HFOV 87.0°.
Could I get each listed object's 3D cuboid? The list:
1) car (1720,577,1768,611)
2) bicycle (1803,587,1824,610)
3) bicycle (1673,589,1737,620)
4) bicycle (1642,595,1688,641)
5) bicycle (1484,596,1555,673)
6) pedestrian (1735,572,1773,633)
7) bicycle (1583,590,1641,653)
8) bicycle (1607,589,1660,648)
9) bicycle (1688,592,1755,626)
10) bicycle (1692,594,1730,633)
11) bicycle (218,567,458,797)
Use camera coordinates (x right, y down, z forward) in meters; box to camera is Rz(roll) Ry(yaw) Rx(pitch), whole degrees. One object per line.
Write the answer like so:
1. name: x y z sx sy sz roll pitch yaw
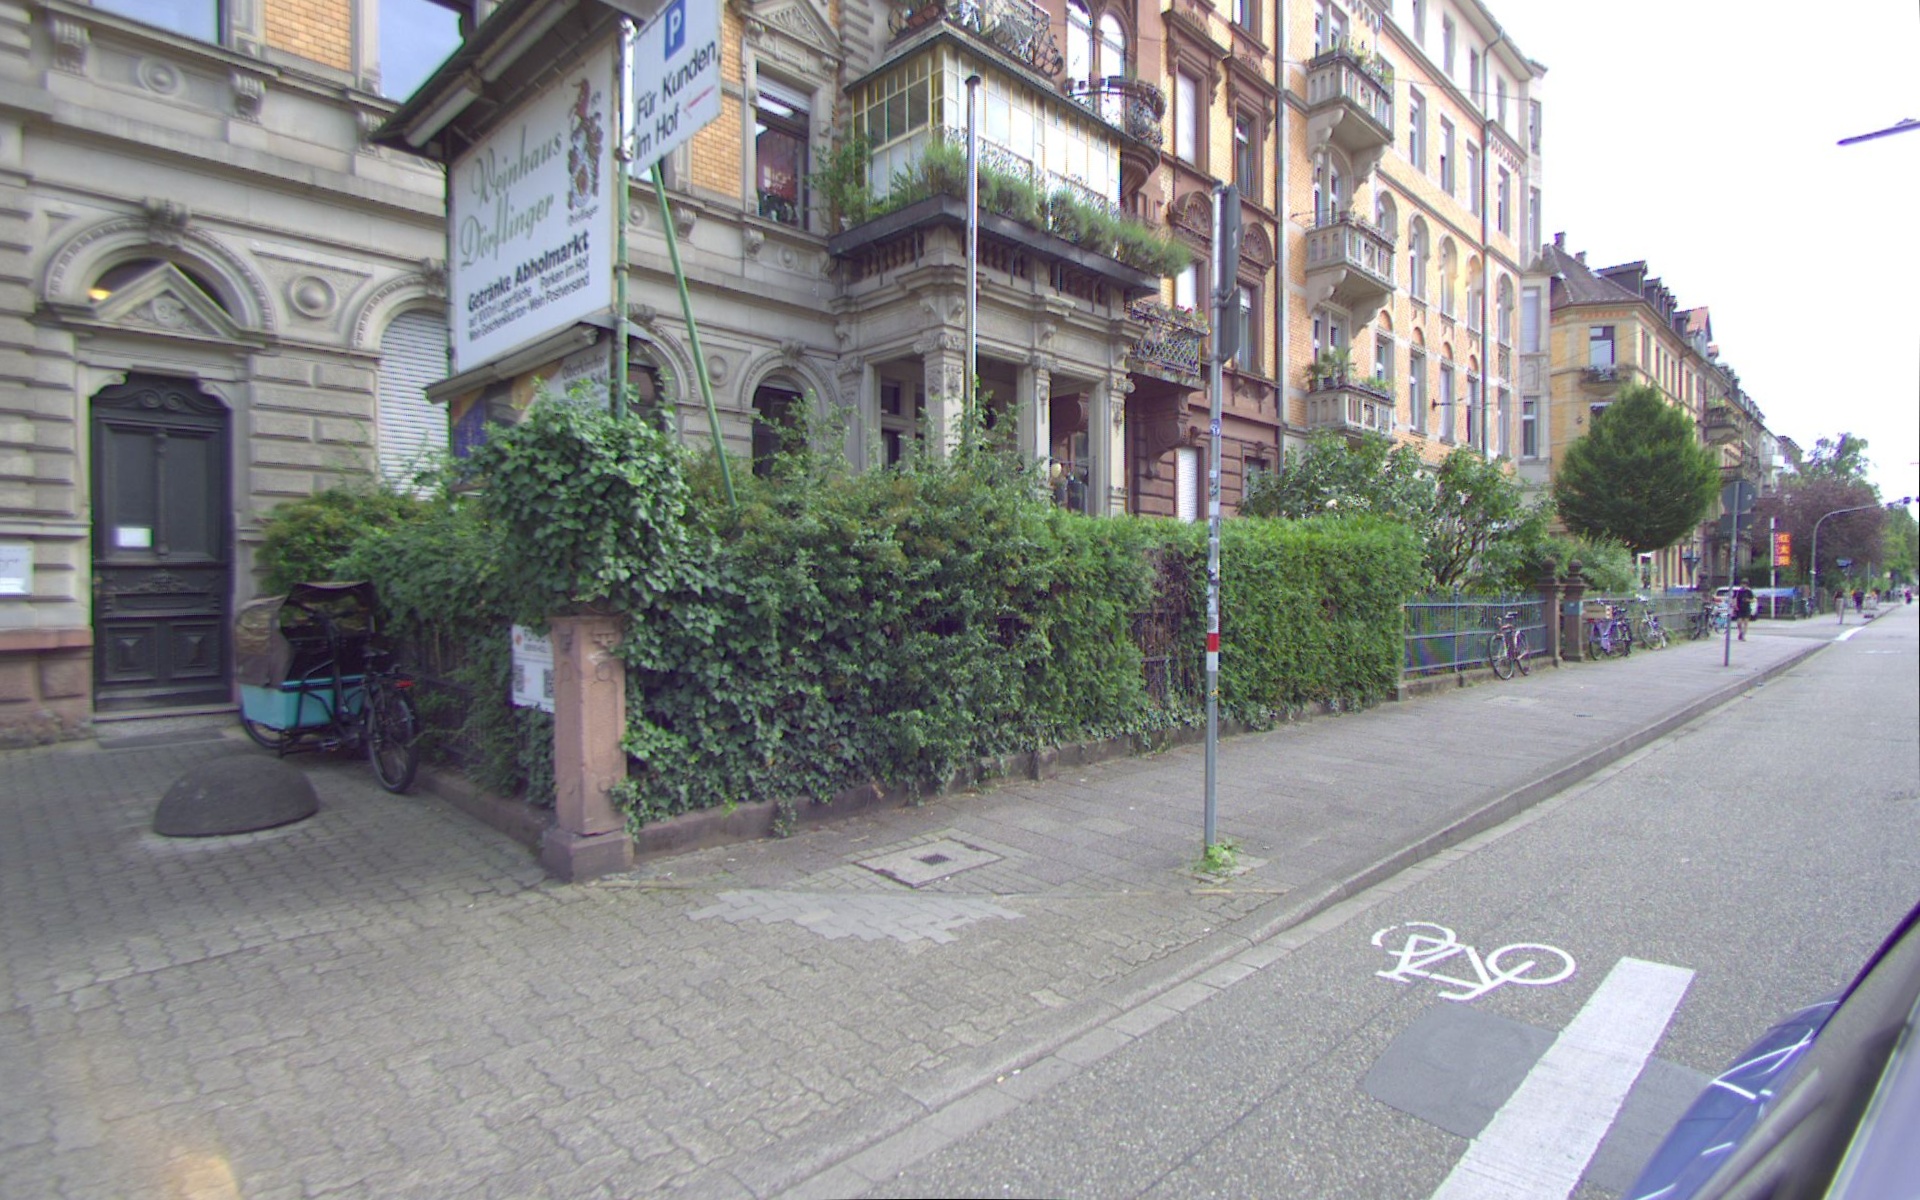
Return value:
1. car: 37.447 -0.308 48.305 1.749 1.544 3.944 0 1 39
2. bicycle: 42.921 -0.087 50.880 1.844 1.127 0.629 -1 1 -44
3. bicycle: 27.900 0.160 37.924 0.522 1.142 1.896 0 1 -28
4. bicycle: 16.377 0.399 23.510 0.579 0.994 1.646 5 4 43
5. bicycle: 8.780 0.515 15.849 0.579 1.126 1.646 0 1 44
6. pedestrian: 21.814 0.059 27.794 0.730 1.644 0.822 0 1 45
7. bicycle: 12.577 0.390 19.505 0.579 1.125 1.646 5 4 43
8. bicycle: 13.924 0.357 20.904 0.579 1.125 1.646 5 4 43
9. bicycle: 26.311 0.303 34.986 1.838 1.127 0.631 0 0 -2
10. bicycle: 20.481 0.348 27.602 0.579 0.994 1.646 5 4 43
11. bicycle: -4.384 0.457 7.019 2.623 1.328 0.758 1 1 43
